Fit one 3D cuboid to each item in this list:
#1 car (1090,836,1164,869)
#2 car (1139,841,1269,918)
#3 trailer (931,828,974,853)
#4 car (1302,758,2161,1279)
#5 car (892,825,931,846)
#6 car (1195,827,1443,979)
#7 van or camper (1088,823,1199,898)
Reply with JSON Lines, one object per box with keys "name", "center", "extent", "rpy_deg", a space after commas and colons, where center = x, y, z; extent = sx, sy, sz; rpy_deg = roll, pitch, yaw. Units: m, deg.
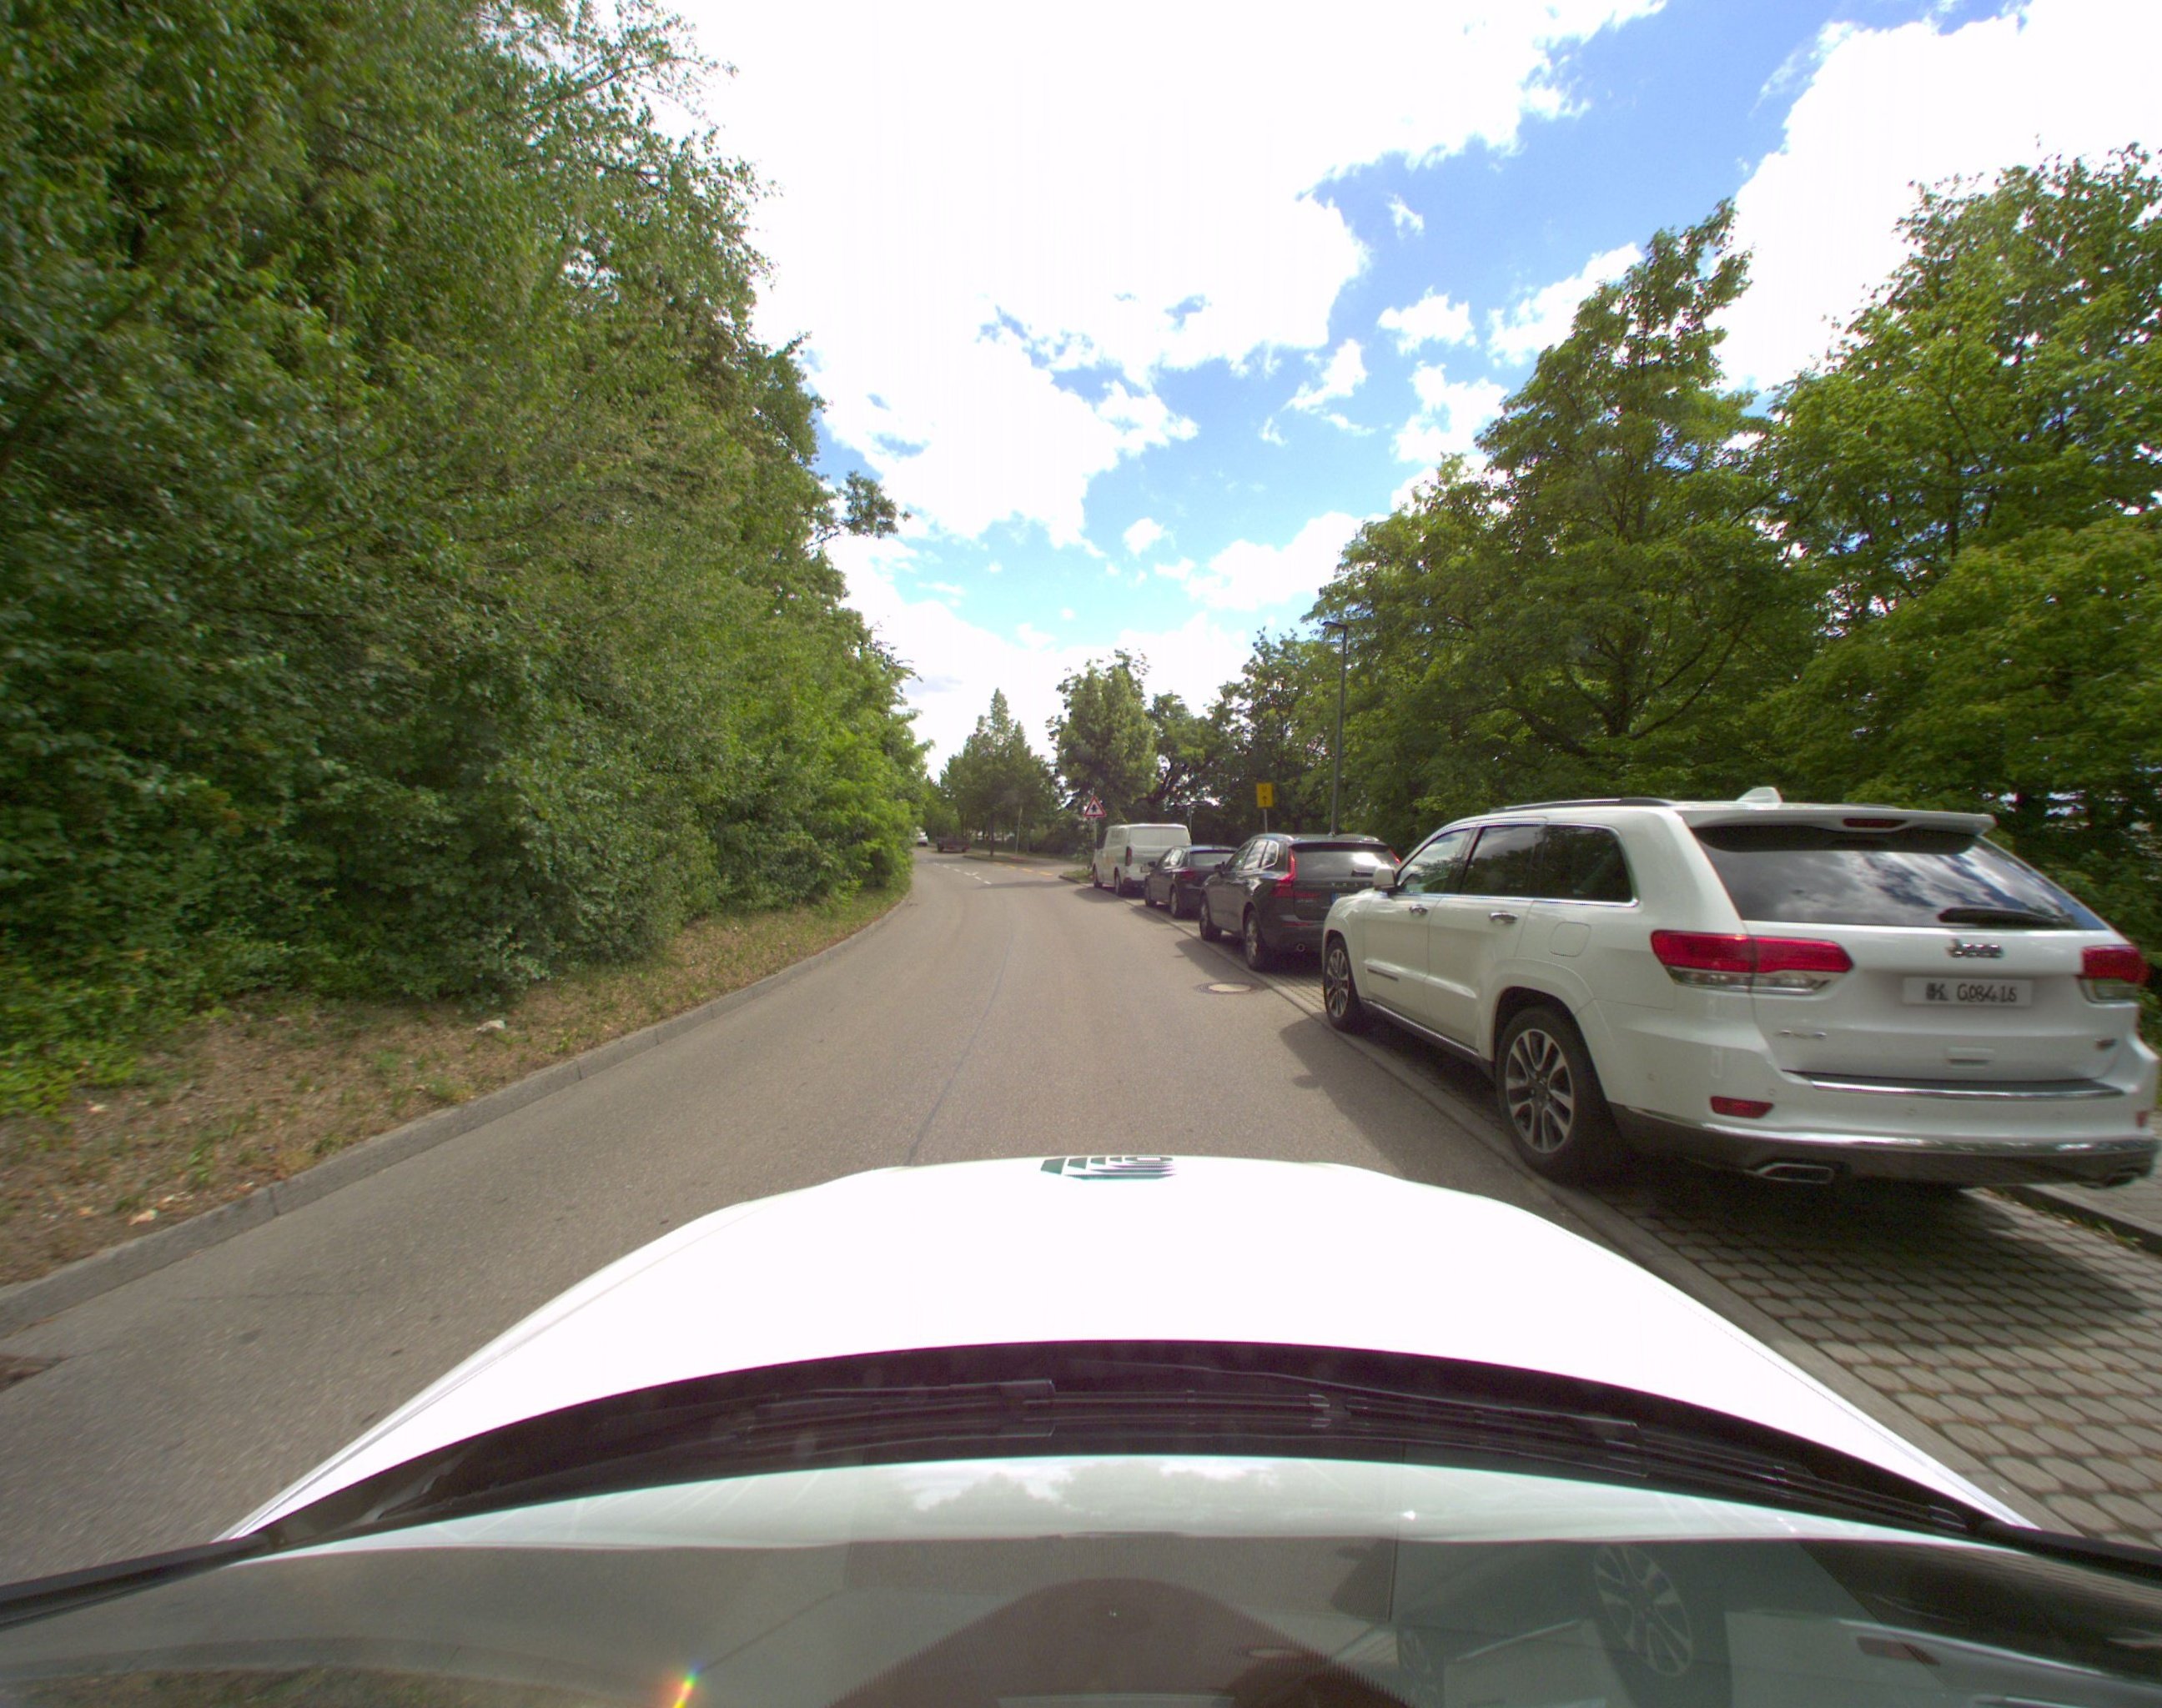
{"name": "car", "center": [2.343, -0.086, 42.216], "extent": [3.532, 1.480, 1.778], "rpy_deg": [2, 2, -7]}
{"name": "car", "center": [2.514, 0.474, 17.611], "extent": [1.796, 1.464, 3.991], "rpy_deg": [1, 0, -6]}
{"name": "trailer", "center": [-8.761, -0.929, 55.260], "extent": [1.793, 1.525, 3.967], "rpy_deg": [-1, 4, -26]}
{"name": "car", "center": [2.963, 0.532, 5.017], "extent": [1.866, 1.689, 4.578], "rpy_deg": [2, 1, -1]}
{"name": "car", "center": [-13.225, -1.460, 63.355], "extent": [1.780, 1.411, 3.963], "rpy_deg": [-1, 4, -31]}
{"name": "car", "center": [2.923, 0.487, 11.084], "extent": [1.989, 1.626, 4.274], "rpy_deg": [-1, 1, -2]}
{"name": "van or camper", "center": [1.638, 0.094, 23.581], "extent": [1.994, 1.920, 5.248], "rpy_deg": [0, 1, -10]}
